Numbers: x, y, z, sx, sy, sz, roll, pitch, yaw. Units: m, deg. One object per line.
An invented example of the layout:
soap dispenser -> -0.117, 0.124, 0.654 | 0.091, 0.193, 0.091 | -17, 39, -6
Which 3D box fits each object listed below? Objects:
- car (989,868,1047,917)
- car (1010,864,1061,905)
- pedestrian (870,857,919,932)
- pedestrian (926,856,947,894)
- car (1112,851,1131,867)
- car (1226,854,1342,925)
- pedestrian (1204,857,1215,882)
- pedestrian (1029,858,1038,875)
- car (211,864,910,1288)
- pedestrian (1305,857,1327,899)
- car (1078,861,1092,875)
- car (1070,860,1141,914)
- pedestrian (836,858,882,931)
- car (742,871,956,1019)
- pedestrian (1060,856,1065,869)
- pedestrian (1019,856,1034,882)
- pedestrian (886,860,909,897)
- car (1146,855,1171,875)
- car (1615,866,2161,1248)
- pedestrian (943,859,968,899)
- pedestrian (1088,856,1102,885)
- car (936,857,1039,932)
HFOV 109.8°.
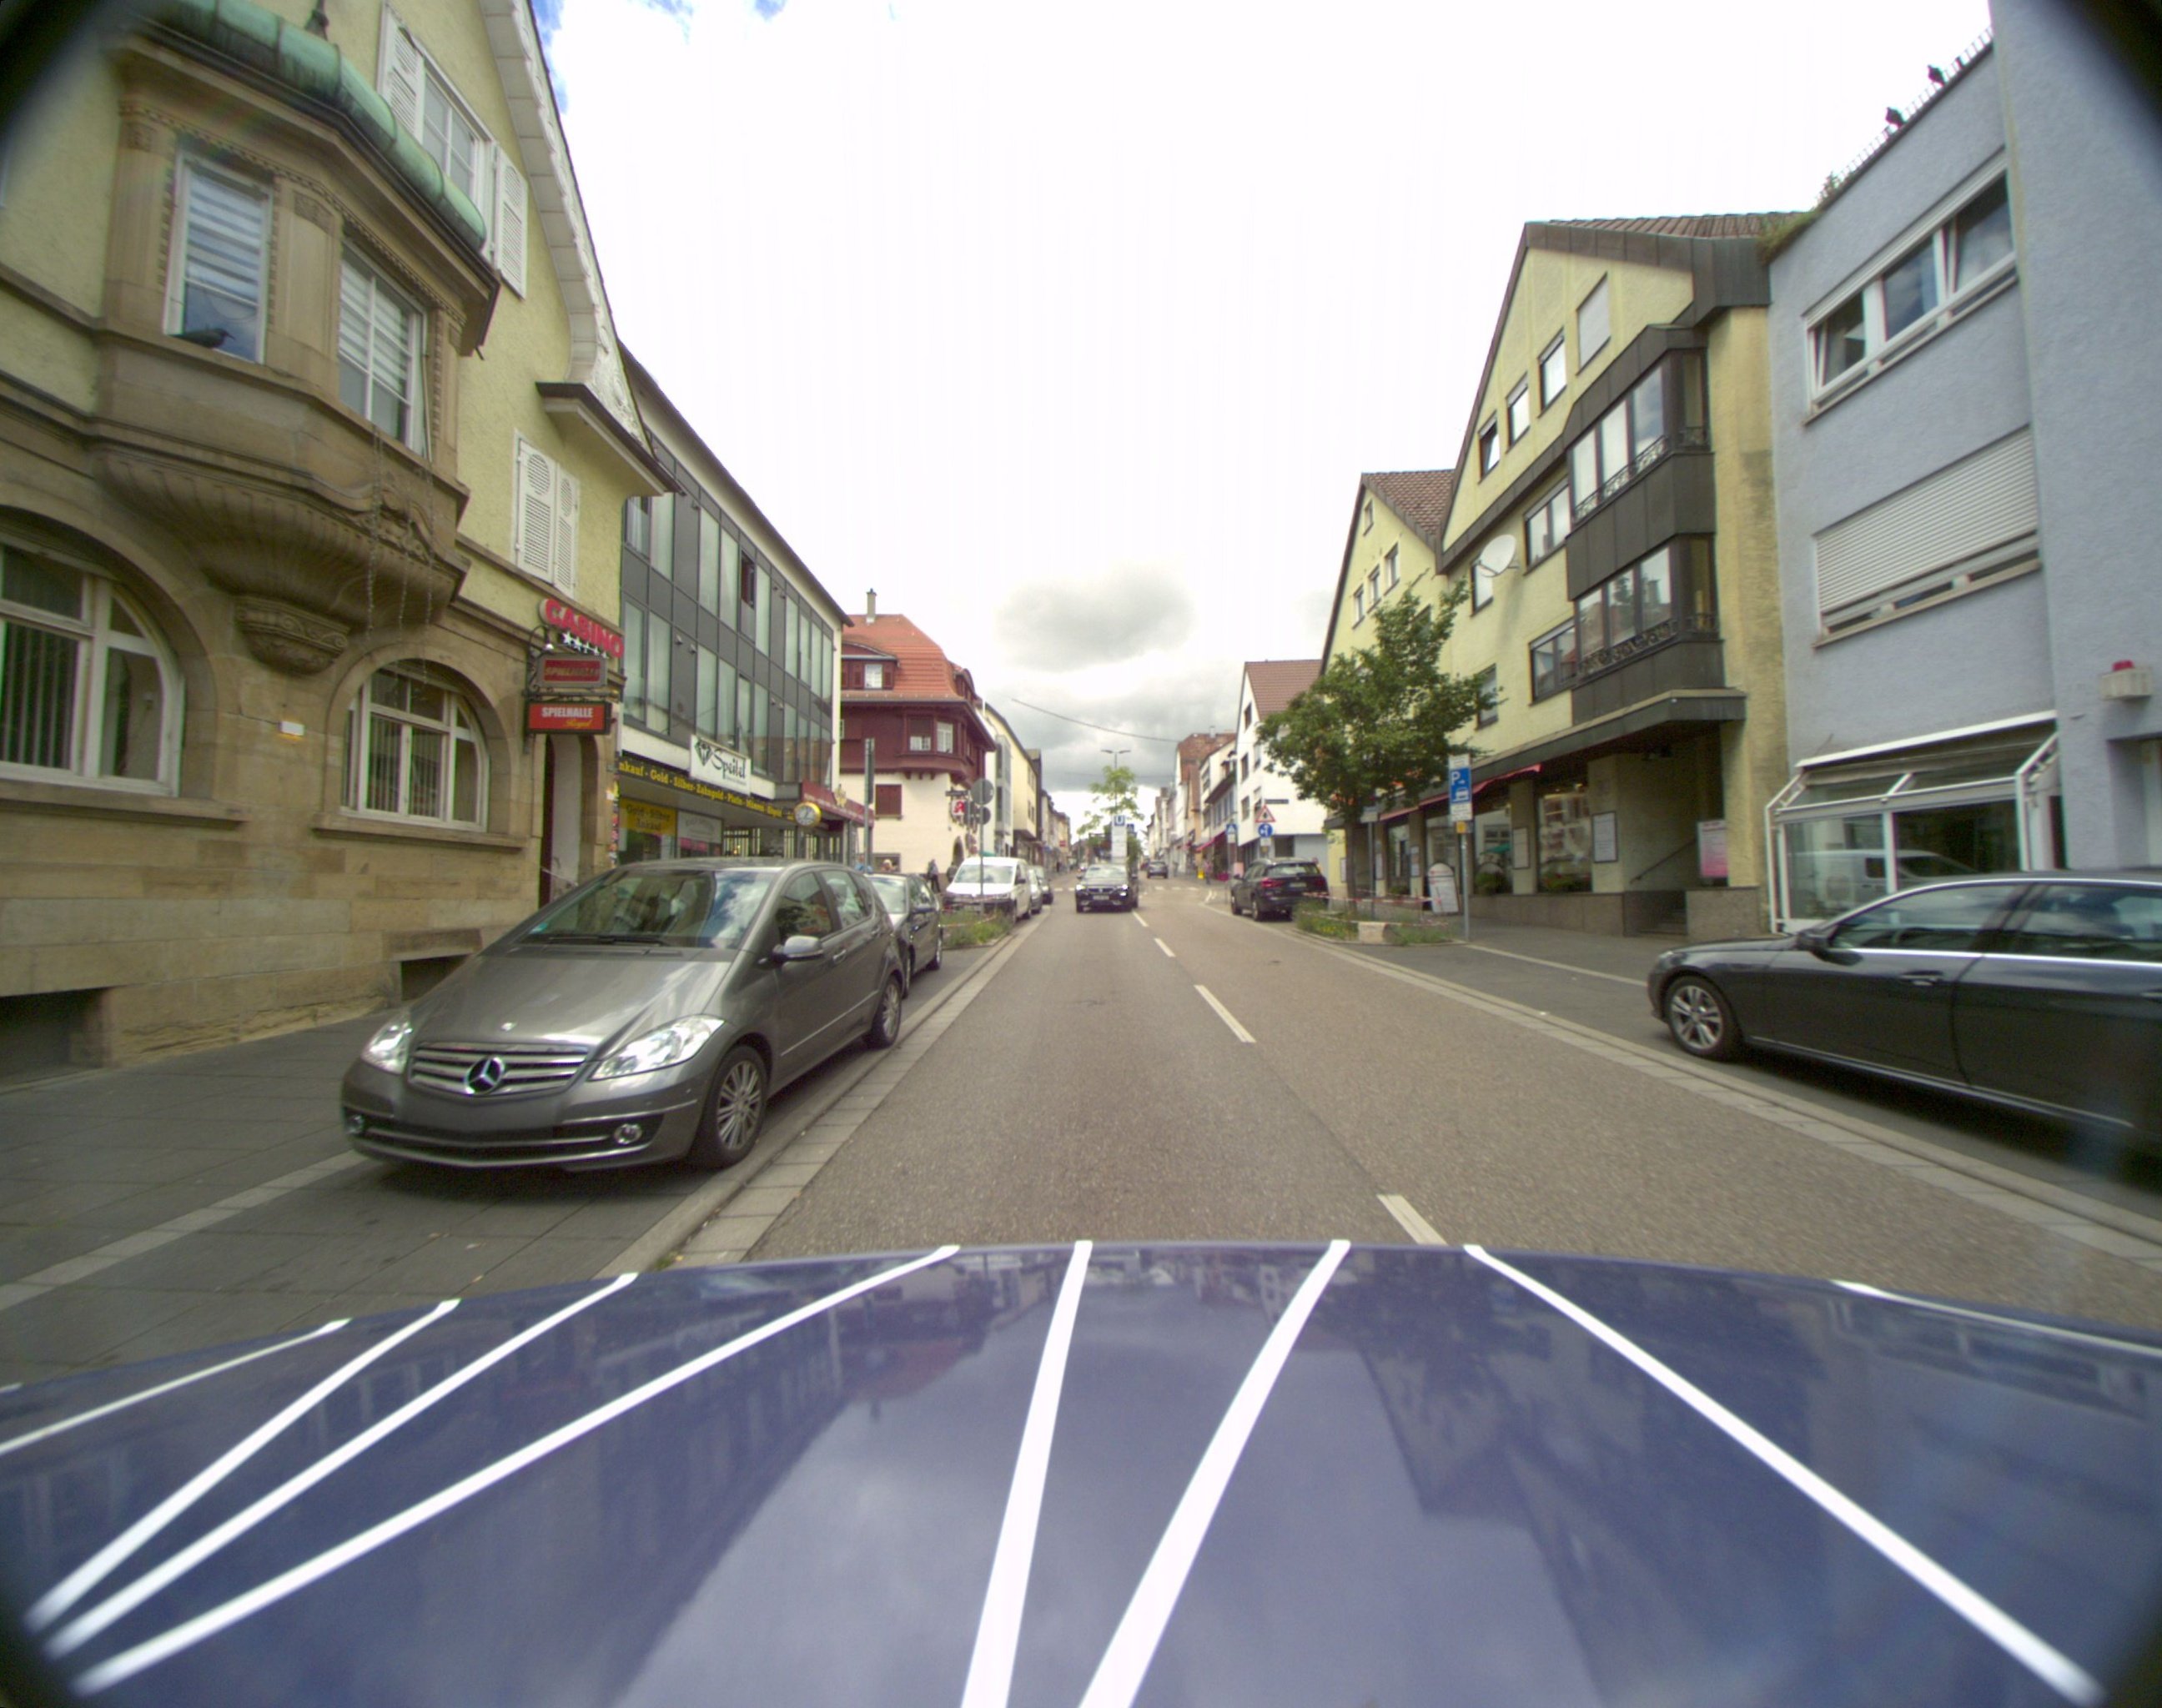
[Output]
car -> -2.052, 1.238, 25.651 | 1.707, 1.459, 3.999 | 0, 0, -2
car -> -1.859, 1.230, 32.062 | 1.807, 1.546, 3.954 | -2, 0, 1
pedestrian -> -4.263, 0.908, 17.394 | 0.825, 1.656, 0.802 | -1, 0, 7
pedestrian -> -6.751, 0.991, 35.587 | 0.776, 1.759, 0.818 | -1, 0, 2
car -> 4.420, 0.569, 83.514 | 1.998, 1.580, 4.495 | -2, 0, 1
car -> 5.522, 0.927, 21.347 | 2.011, 1.683, 4.608 | -2, -1, 0
pedestrian -> 8.765, 1.048, 51.812 | 0.696, 1.729, 0.825 | 0, 0, 3
pedestrian -> -4.665, 1.200, 74.818 | 0.759, 1.663, 0.780 | 2, 0, -1
car -> -2.530, 0.898, 4.926 | 1.752, 1.598, 3.801 | 1, 0, 4
pedestrian -> 9.860, 1.006, 31.944 | 0.638, 1.728, 0.835 | 1, 0, -1
car -> 0.636, 2.065, 114.756 | 1.998, 2.002, 4.000 | -1, 0, 1
car -> 0.934, 1.056, 25.868 | 1.913, 1.559, 4.375 | -3, 0, 8
pedestrian -> -5.395, 0.970, 18.508 | 0.798, 1.717, 1.053 | 0, 0, 1
car -> -2.813, 1.023, 10.132 | 1.753, 1.500, 3.874 | 1, 0, -2
pedestrian -> -2.566, 1.145, 103.161 | 0.663, 1.696, 0.780 | 0, 0, -1
pedestrian -> -3.774, 1.031, 52.839 | 0.987, 1.777, 0.919 | 0, 0, -4
pedestrian -> -8.343, 1.090, 34.578 | 0.774, 1.636, 0.870 | 1, 0, 7
car -> 7.057, 0.976, 69.687 | 1.967, 1.611, 4.356 | 3, 0, 3
car -> 5.512, 0.886, 3.995 | 1.931, 1.484, 4.842 | -3, 0, 0
pedestrian -> -5.410, 1.082, 32.805 | 0.865, 1.697, 0.945 | 0, 0, 7
pedestrian -> 0.874, 1.011, 47.670 | 0.676, 1.791, 0.787 | -1, 0, -12
car -> -2.403, 1.004, 20.779 | 1.881, 1.789, 4.734 | -1, 0, 4
